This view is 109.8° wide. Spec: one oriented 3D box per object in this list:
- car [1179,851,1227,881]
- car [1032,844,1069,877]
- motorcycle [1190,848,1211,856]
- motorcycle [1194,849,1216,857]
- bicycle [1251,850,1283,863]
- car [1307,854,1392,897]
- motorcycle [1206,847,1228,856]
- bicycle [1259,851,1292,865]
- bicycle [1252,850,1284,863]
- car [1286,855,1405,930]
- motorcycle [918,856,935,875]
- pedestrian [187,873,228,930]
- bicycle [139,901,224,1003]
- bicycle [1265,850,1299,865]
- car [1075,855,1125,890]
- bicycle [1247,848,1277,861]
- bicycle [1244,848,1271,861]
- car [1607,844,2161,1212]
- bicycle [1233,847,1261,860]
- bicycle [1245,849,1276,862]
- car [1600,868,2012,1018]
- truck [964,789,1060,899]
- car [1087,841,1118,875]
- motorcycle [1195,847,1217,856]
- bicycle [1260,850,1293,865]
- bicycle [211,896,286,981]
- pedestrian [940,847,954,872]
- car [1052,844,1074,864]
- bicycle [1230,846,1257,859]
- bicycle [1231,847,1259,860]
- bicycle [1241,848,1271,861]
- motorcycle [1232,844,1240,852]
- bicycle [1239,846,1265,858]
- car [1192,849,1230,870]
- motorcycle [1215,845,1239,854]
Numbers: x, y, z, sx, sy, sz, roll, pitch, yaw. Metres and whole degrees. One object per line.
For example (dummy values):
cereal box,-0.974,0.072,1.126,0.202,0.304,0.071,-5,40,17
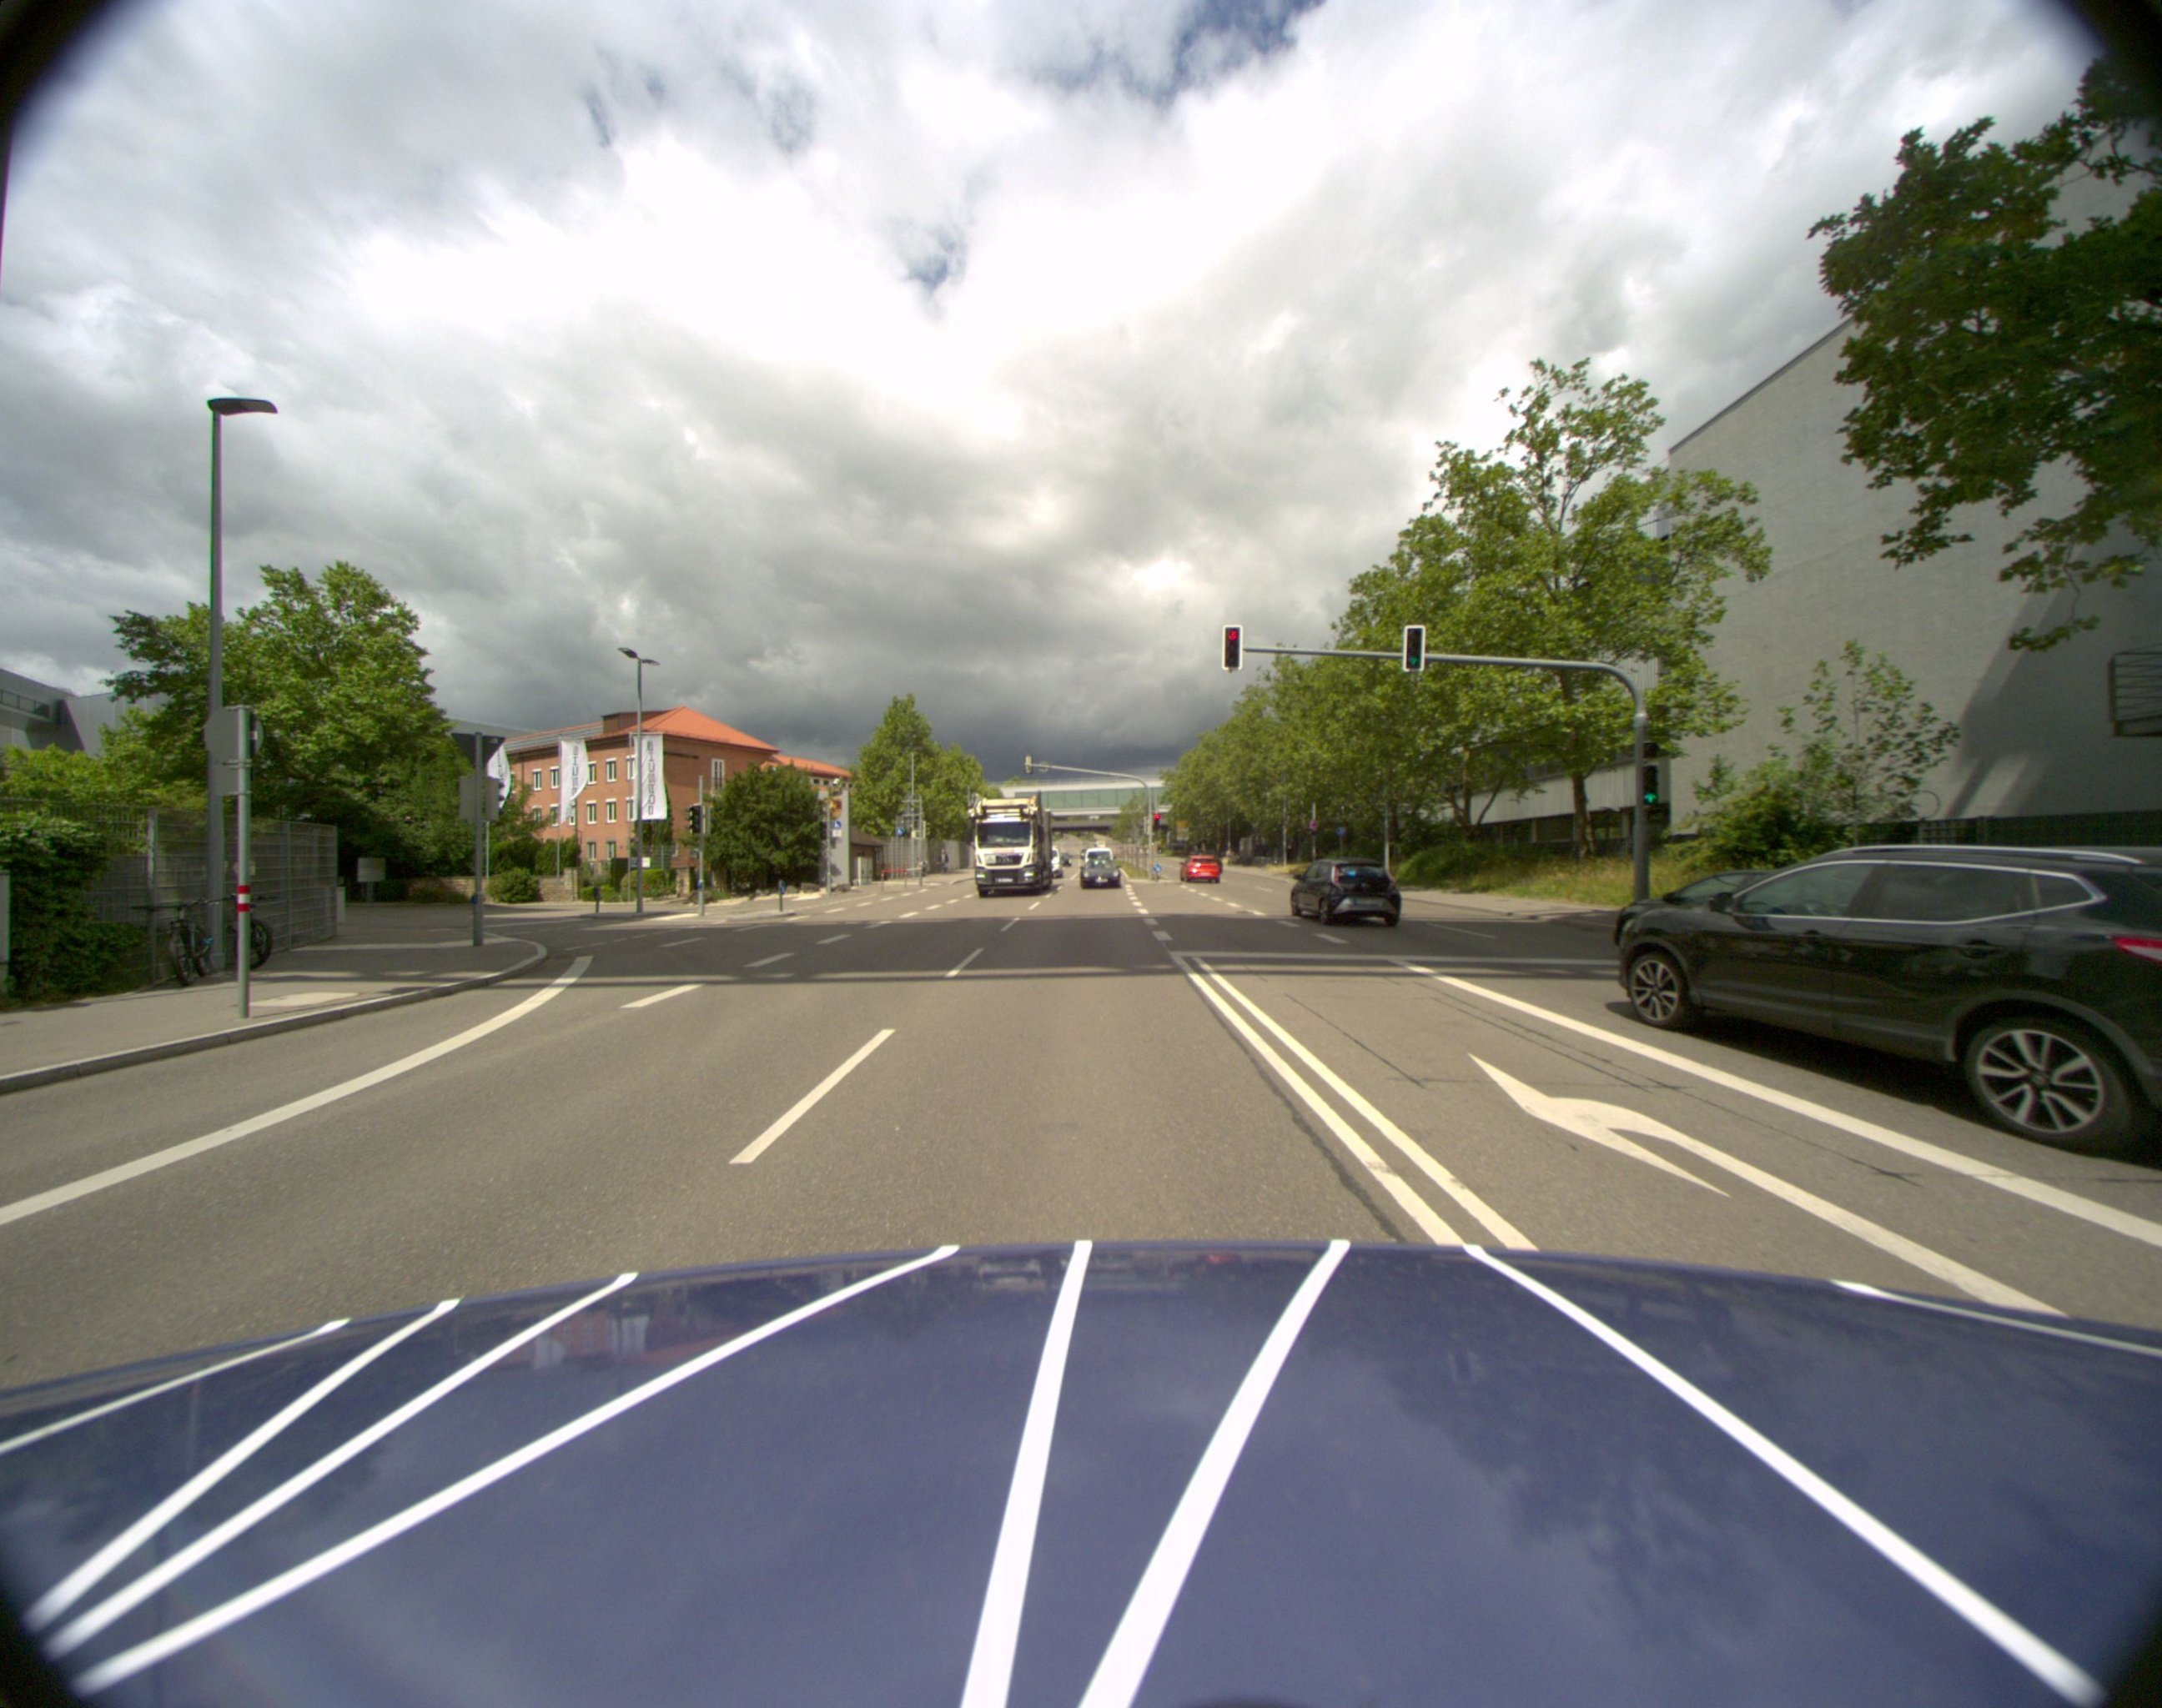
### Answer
car,6.417,0.589,40.234,1.889,1.446,3.902,1,1,0
car,-1.905,0.368,48.877,1.871,1.944,4.711,-2,1,2
motorcycle,17.002,-0.315,108.334,2.830,1.029,0.600,-2,-2,4
motorcycle,16.845,-0.121,103.387,2.830,1.029,0.600,-2,-2,4
bicycle,15.911,0.207,64.887,2.564,1.079,0.615,-2,1,-7
car,9.535,0.725,27.266,1.697,1.421,3.822,0,0,0
motorcycle,17.784,-0.359,99.321,2.829,1.029,0.600,-2,-2,7
bicycle,15.841,0.320,61.851,2.561,1.079,0.616,-2,1,7
bicycle,16.140,0.203,65.675,2.563,1.079,0.615,-2,1,-2
car,6.038,0.807,17.742,1.561,1.496,3.613,1,1,2
motorcycle,-10.005,0.729,49.290,0.570,1.219,2.175,0,1,1
pedestrian,-27.988,1.509,24.348,0.743,1.770,0.638,-1,1,30
bicycle,-11.530,1.197,9.724,1.964,1.121,0.547,0,-1,36
bicycle,16.009,0.299,60.626,2.561,1.079,0.616,-2,1,7
car,0.879,0.768,33.297,1.838,1.317,4.001,-3,0,5
bicycle,16.309,0.075,68.437,2.559,1.079,0.616,-2,1,14
bicycle,16.348,0.066,70.424,2.413,1.079,0.615,-2,1,0
car,5.839,0.787,5.077,1.740,1.674,4.213,1,1,1
bicycle,15.918,-0.051,72.810,2.562,1.171,0.615,-2,1,2
bicycle,15.968,0.148,67.646,2.561,1.079,0.628,-2,1,4
car,8.861,0.966,9.850,1.580,1.420,3.919,1,1,1
truck,-2.623,-0.429,32.851,2.713,3.863,10.741,-2,1,2
car,1.367,0.308,47.671,1.824,2.001,4.393,-1,-1,2
motorcycle,16.558,-0.366,100.558,2.830,1.029,0.600,-2,-2,4
bicycle,16.176,0.281,62.786,2.560,1.079,0.616,-2,1,9
bicycle,-12.474,1.220,11.370,1.881,1.121,0.547,0,0,36
pedestrian,-9.603,0.399,54.605,0.729,1.756,1.015,-2,1,1
car,-1.869,-0.063,79.924,1.871,1.944,4.711,-3,1,2
bicycle,15.920,-0.115,74.480,2.562,1.171,0.615,-2,1,2
bicycle,15.877,-0.051,73.527,2.562,1.171,0.615,-2,1,2
bicycle,16.022,0.056,69.529,2.561,1.079,0.616,-2,1,7
motorcycle,20.314,-0.785,99.726,0.599,1.029,2.591,-2,-2,4
bicycle,16.147,-0.198,71.870,2.411,1.079,0.616,-2,1,11
car,9.798,0.375,57.708,1.999,1.446,4.767,1,1,0
motorcycle,18.072,-0.509,93.797,2.830,1.029,0.600,-2,-2,4
